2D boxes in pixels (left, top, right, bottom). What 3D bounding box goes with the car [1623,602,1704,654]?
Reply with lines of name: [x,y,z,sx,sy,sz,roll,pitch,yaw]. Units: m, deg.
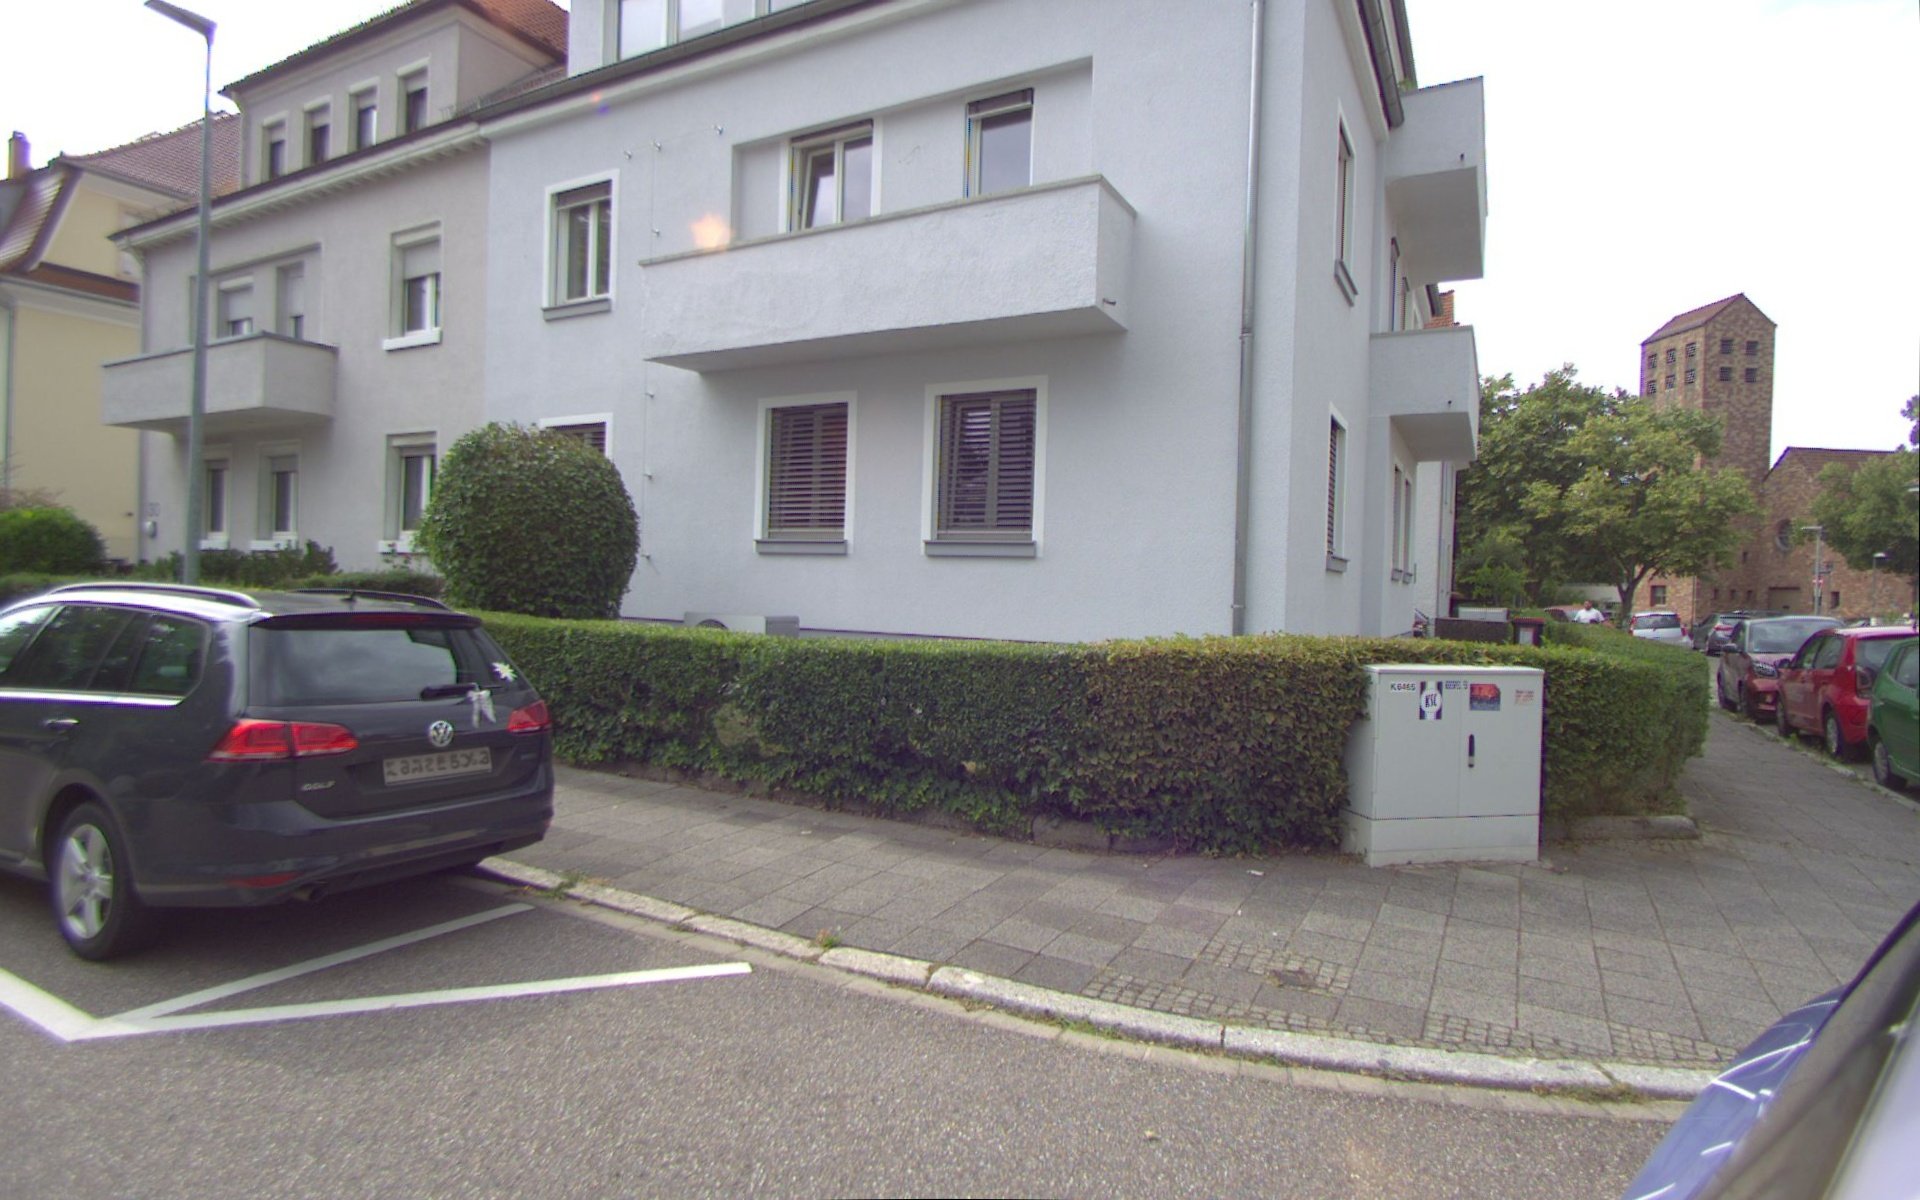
car: [21.925,0.829,31.648,1.635,1.515,3.447,-2,-1,28]

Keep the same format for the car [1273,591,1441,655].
car: [10.709,0.579,27.363,3.967,1.482,1.979,2,1,30]

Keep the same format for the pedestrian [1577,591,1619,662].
pedestrian: [17.707,0.703,28.095,0.876,1.902,1.067,2,1,30]

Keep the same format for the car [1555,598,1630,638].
car: [25.213,0.687,40.456,1.628,1.515,3.462,-1,-1,17]

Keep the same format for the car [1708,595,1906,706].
car: [12.986,0.708,15.746,1.635,1.515,3.447,-2,-1,28]

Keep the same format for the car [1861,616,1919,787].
car: [8.768,0.864,7.998,1.635,1.440,3.447,-2,-1,28]

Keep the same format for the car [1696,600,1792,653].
car: [26.273,0.836,34.055,1.839,1.499,4.001,4,2,28]

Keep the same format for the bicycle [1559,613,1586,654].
bicycle: [18.060,0.972,29.884,0.419,1.117,2.097,2,1,25]

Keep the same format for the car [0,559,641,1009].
car: [-3.872,0.574,5.222,4.134,1.490,1.843,2,1,27]

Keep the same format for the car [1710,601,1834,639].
car: [37.600,0.906,47.011,4.191,1.482,1.667,2,3,29]

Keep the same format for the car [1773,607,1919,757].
car: [11.045,0.868,11.912,1.635,1.515,3.447,-2,-1,28]
